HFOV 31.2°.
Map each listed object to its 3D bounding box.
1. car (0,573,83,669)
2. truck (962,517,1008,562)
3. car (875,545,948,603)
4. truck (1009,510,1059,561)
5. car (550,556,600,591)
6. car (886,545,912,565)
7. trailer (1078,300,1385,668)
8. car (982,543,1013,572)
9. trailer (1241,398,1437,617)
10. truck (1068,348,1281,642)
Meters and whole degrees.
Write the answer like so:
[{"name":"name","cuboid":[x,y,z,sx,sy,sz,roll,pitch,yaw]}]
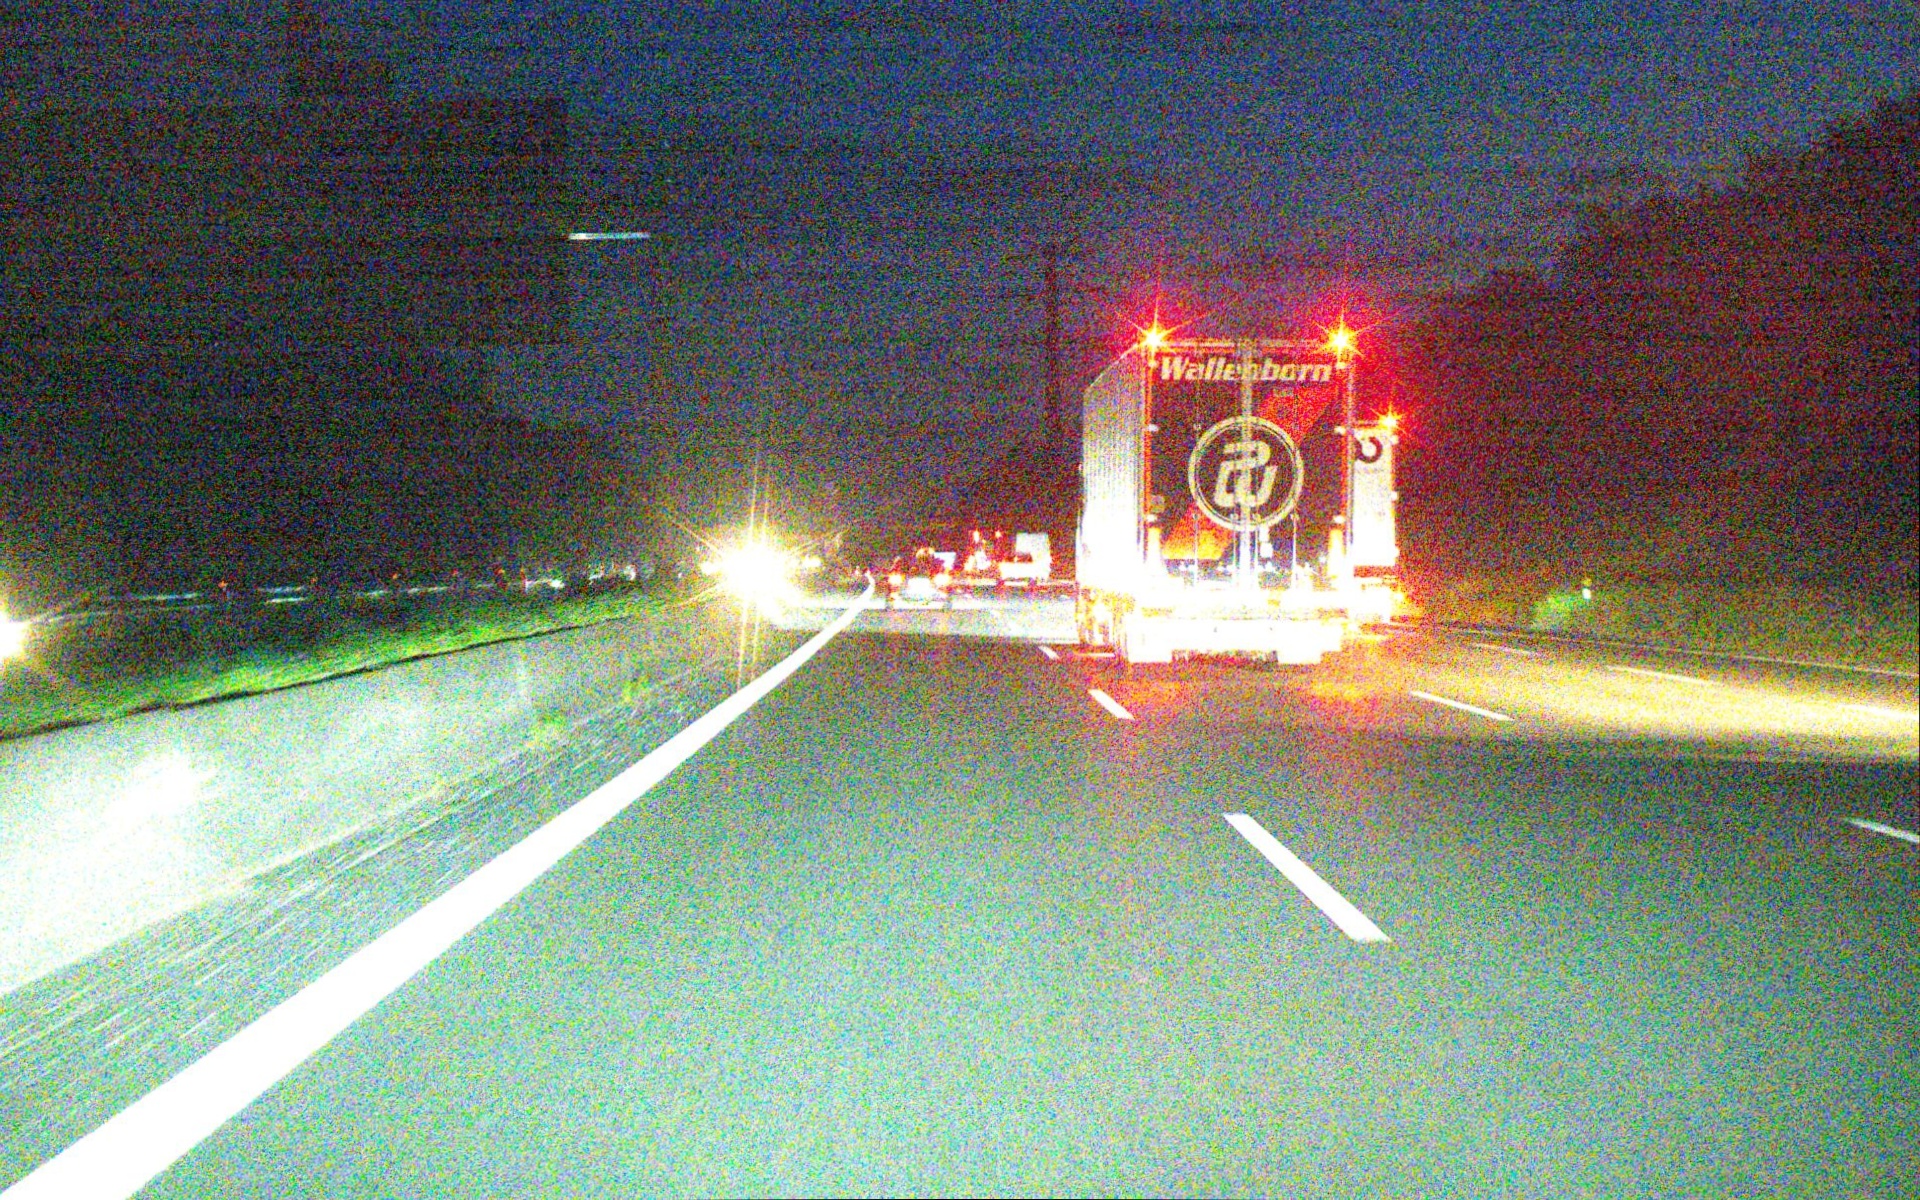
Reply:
[{"name":"car","cuboid":[-15.716,0.364,55.820,1.821,1.461,4.560,-4,1,-2]},{"name":"truck","cuboid":[1.856,-4.640,263.242,3.044,3.313,10.143,1,1,-2]},{"name":"car","cuboid":[-1.307,-0.702,90.655,1.821,1.461,4.248,1,1,-2]},{"name":"truck","cuboid":[4.067,-3.542,190.075,2.076,2.682,7.309,1,0,-4]},{"name":"car","cuboid":[-17.228,-1.192,154.116,1.750,1.473,4.943,-2,1,-1]},{"name":"car","cuboid":[-4.541,-3.339,255.100,1.821,1.461,4.248,1,1,-2]},{"name":"trailer","cuboid":[3.350,-1.435,46.266,2.742,4.192,13.511,1,1,-1]},{"name":"car","cuboid":[1.826,-2.099,168.004,1.346,1.382,3.502,1,1,-2]},{"name":"trailer","cuboid":[7.484,-1.803,69.201,2.591,4.058,10.009,1,1,-1]},{"name":"truck","cuboid":[3.180,-1.558,52.742,2.661,4.192,6.723,1,1,-1]}]
